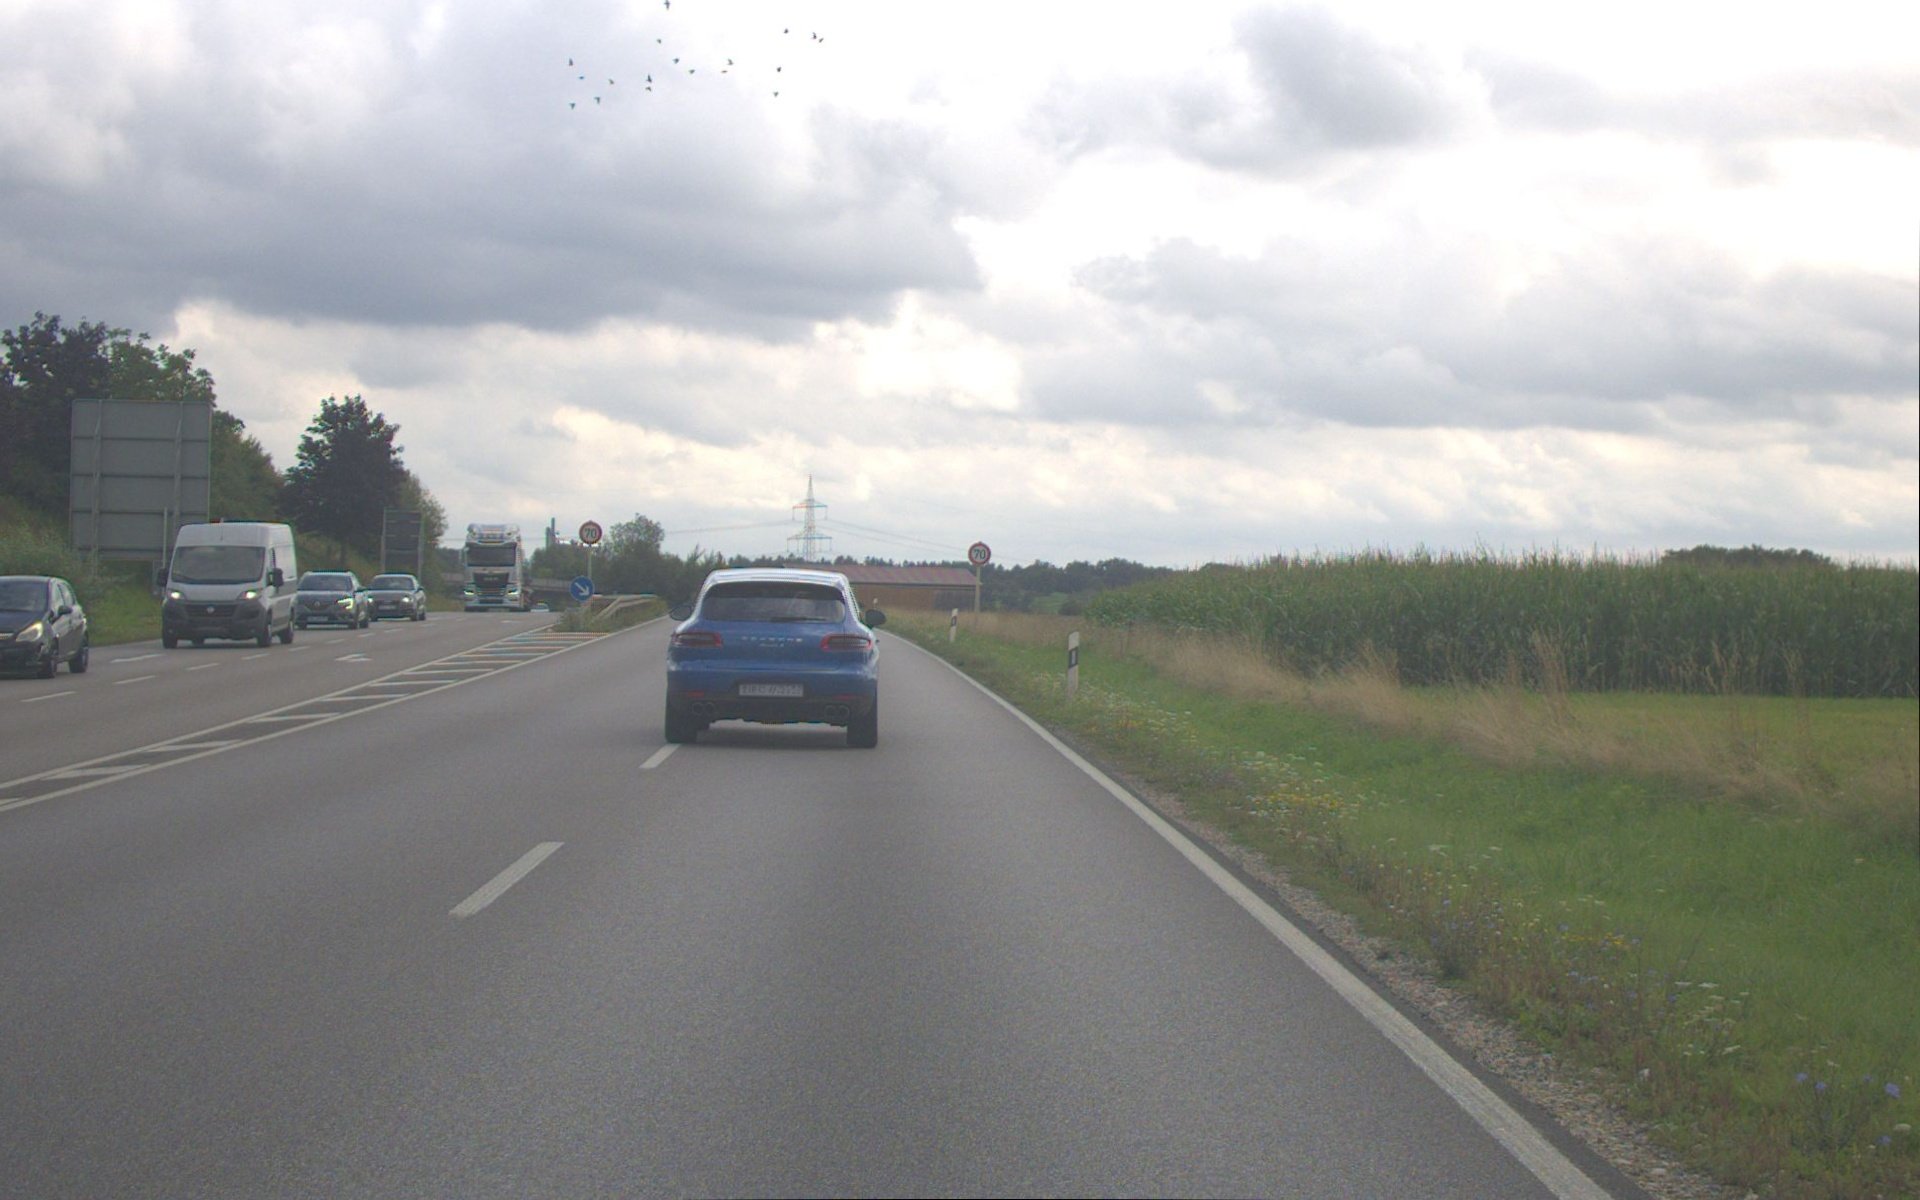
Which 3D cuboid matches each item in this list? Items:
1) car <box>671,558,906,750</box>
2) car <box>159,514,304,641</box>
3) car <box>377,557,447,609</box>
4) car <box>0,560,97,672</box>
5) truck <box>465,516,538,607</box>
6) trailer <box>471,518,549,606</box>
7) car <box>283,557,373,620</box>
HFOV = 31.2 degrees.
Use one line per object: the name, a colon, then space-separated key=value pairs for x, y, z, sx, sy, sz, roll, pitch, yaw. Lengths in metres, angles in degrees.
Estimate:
car: x=-1.652 y=0.465 z=32.347 sx=2.033 sy=1.655 sz=4.544 roll=1 pitch=0 yaw=-4
car: x=-14.470 y=-0.487 z=68.556 sx=2.033 sy=2.431 sz=5.636 roll=0 pitch=1 yaw=-4
car: x=-16.617 y=-0.535 z=104.365 sx=1.732 sy=1.525 sz=4.194 roll=0 pitch=1 yaw=-4
car: x=-13.771 y=0.200 z=49.833 sx=1.732 sy=1.525 sz=4.194 roll=0 pitch=1 yaw=-4
truck: x=-20.734 y=-1.753 z=155.534 sx=2.802 sy=3.983 sz=5.287 roll=2 pitch=1 yaw=-4
trailer: x=-21.302 y=-1.857 z=163.339 sx=2.774 sy=3.933 sz=12.987 roll=2 pitch=1 yaw=-4
car: x=-16.041 y=-0.318 z=87.473 sx=1.732 sy=1.525 sz=4.549 roll=0 pitch=1 yaw=-4
